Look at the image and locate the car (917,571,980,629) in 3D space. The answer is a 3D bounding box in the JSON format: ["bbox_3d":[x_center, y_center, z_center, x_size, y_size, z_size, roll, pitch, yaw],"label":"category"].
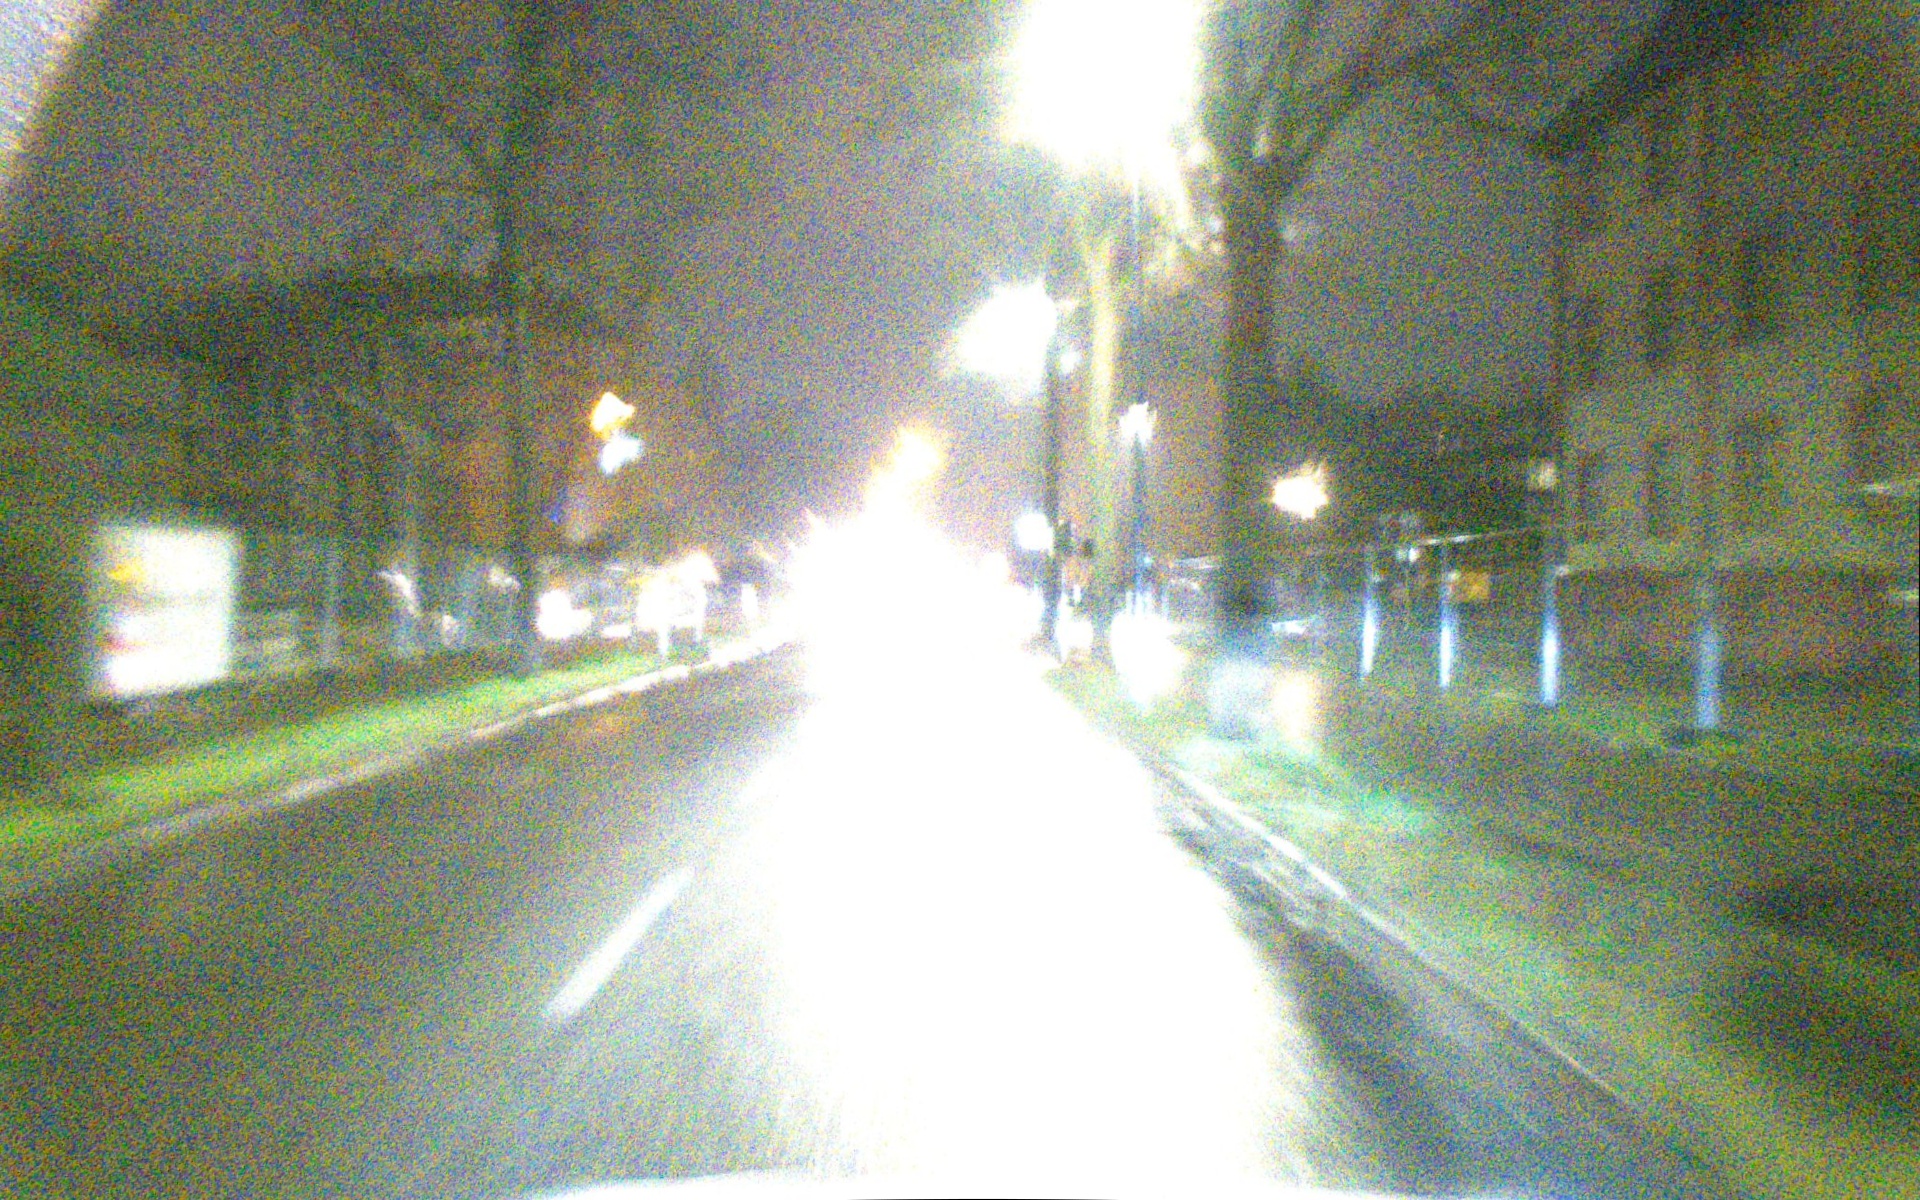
[{"bbox_3d":[-0.365,-0.042,53.271,1.953,1.713,4.000,0,2,-1],"label":"car"}]

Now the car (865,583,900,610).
[{"bbox_3d":[-4.291,-0.211,92.121,1.709,1.458,4.000,-1,1,0],"label":"car"}]

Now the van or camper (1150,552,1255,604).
[{"bbox_3d":[12.252,-1.105,83.790,4.959,2.571,2.171,0,1,0],"label":"van or camper"}]

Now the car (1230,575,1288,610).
[{"bbox_3d":[14.338,-0.375,79.461,1.792,1.574,4.865,0,1,-2],"label":"car"}]

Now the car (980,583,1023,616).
[{"bbox_3d":[1.961,-0.065,79.482,1.679,1.515,4.433,-1,0,-4],"label":"car"}]

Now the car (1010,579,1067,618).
[{"bbox_3d":[3.223,-0.109,68.517,1.754,1.474,4.787,-2,1,-4],"label":"car"}]
